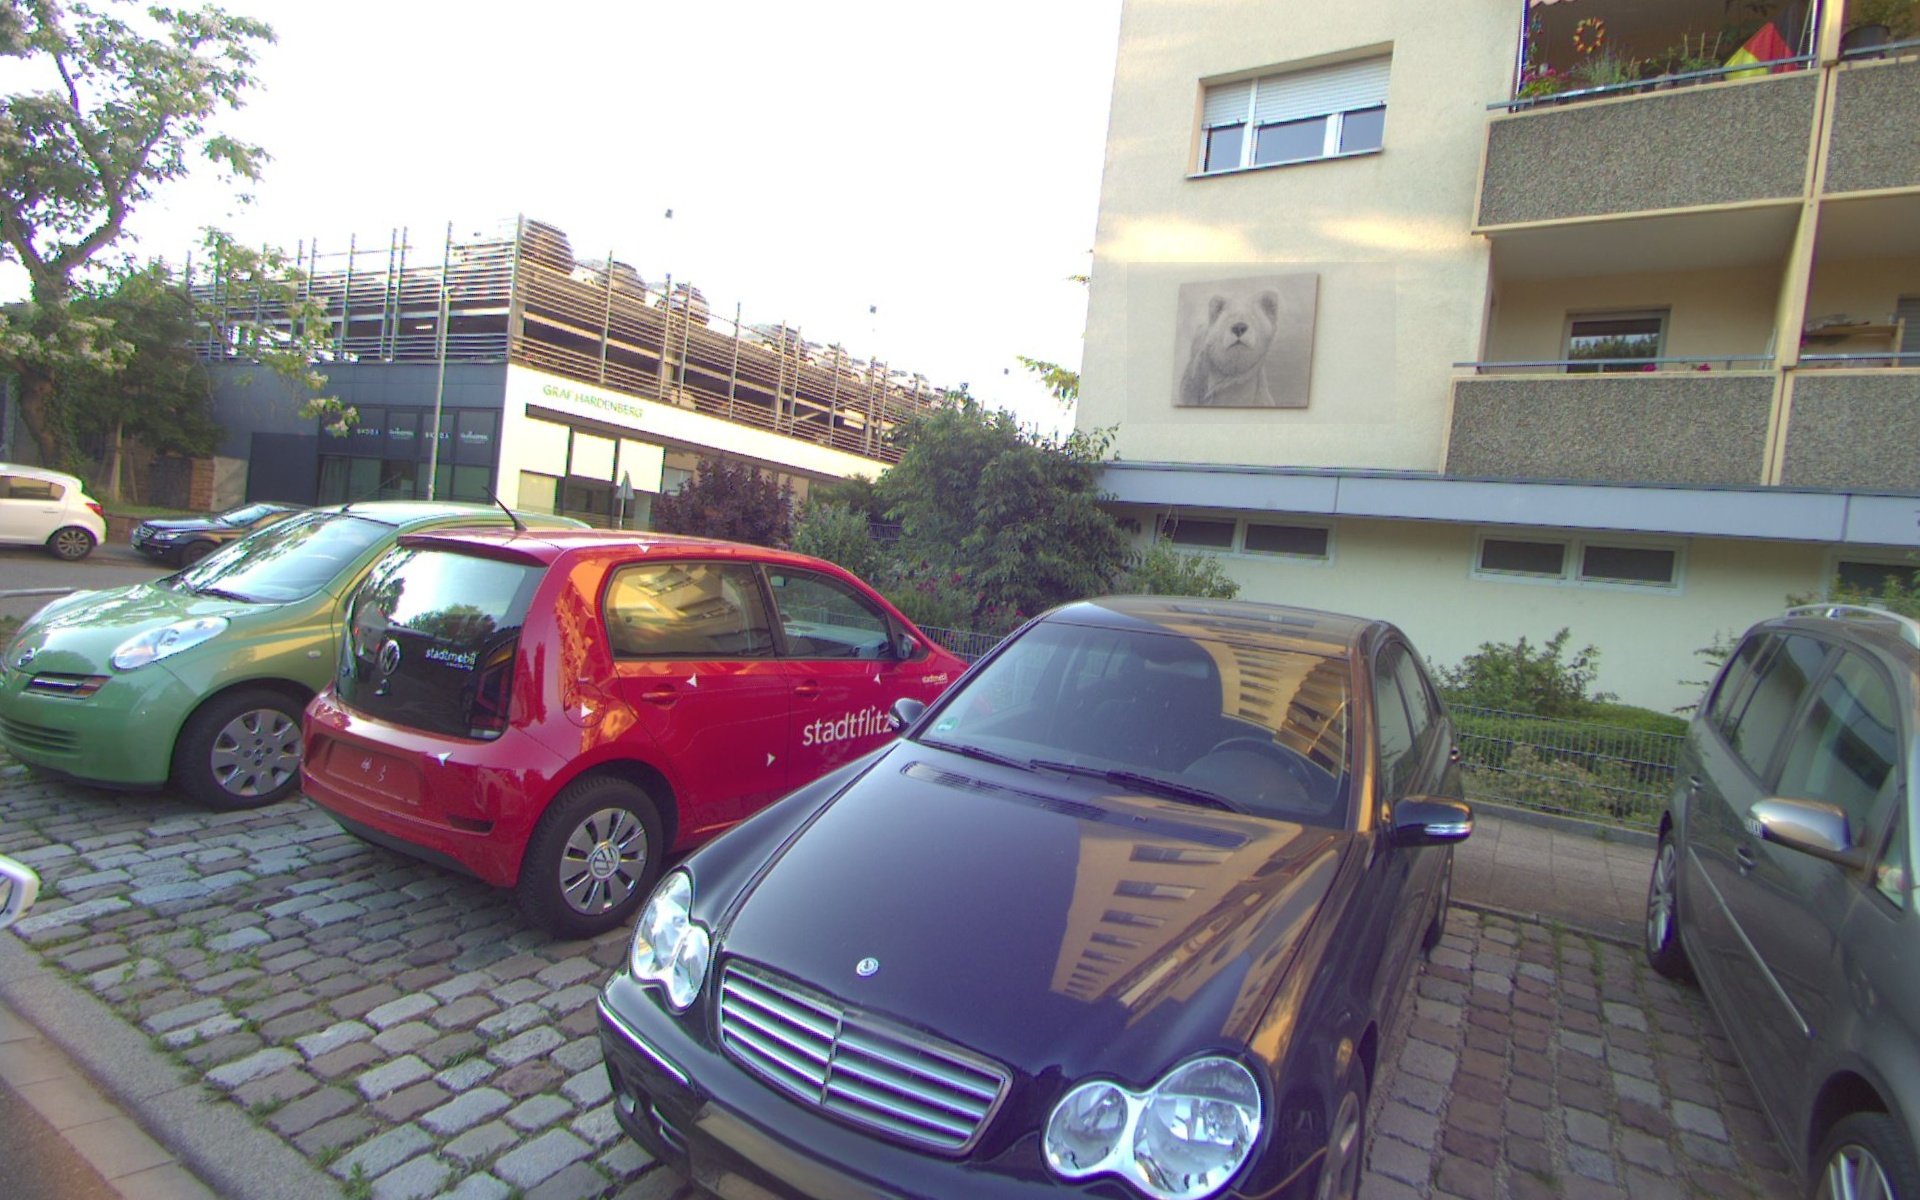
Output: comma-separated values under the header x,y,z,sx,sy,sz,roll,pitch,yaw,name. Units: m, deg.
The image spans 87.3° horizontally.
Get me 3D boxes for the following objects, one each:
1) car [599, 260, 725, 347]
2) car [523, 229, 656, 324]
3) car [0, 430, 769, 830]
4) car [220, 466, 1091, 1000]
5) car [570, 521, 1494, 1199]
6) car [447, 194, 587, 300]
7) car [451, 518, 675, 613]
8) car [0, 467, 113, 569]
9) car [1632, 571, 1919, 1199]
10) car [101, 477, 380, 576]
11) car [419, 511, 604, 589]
x,y,z,sx,sy,sz,roll,pitch,yaw,name
-10.271,-10.110,34.583,3.938,2.039,1.994,7,0,36,car
-11.947,-10.328,32.389,3.938,2.039,1.994,7,0,36,car
-3.402,0.116,6.515,1.814,1.653,4.407,5,1,28,car
-1.116,0.336,5.514,1.815,1.655,4.398,7,5,32,car
0.955,0.703,3.866,1.814,1.551,4.407,5,1,28,car
-13.348,-10.506,30.240,3.938,2.039,1.994,7,0,36,car
-7.981,-0.645,20.528,1.794,1.544,3.835,7,2,35,car
-17.237,-1.578,17.086,1.924,1.594,3.861,8,1,28,car
3.234,0.847,2.708,1.814,1.684,4.405,5,3,28,car
-14.653,-1.452,20.726,1.794,1.523,4.290,7,2,35,car
-11.229,-1.221,25.415,1.794,1.523,3.835,7,2,35,car
